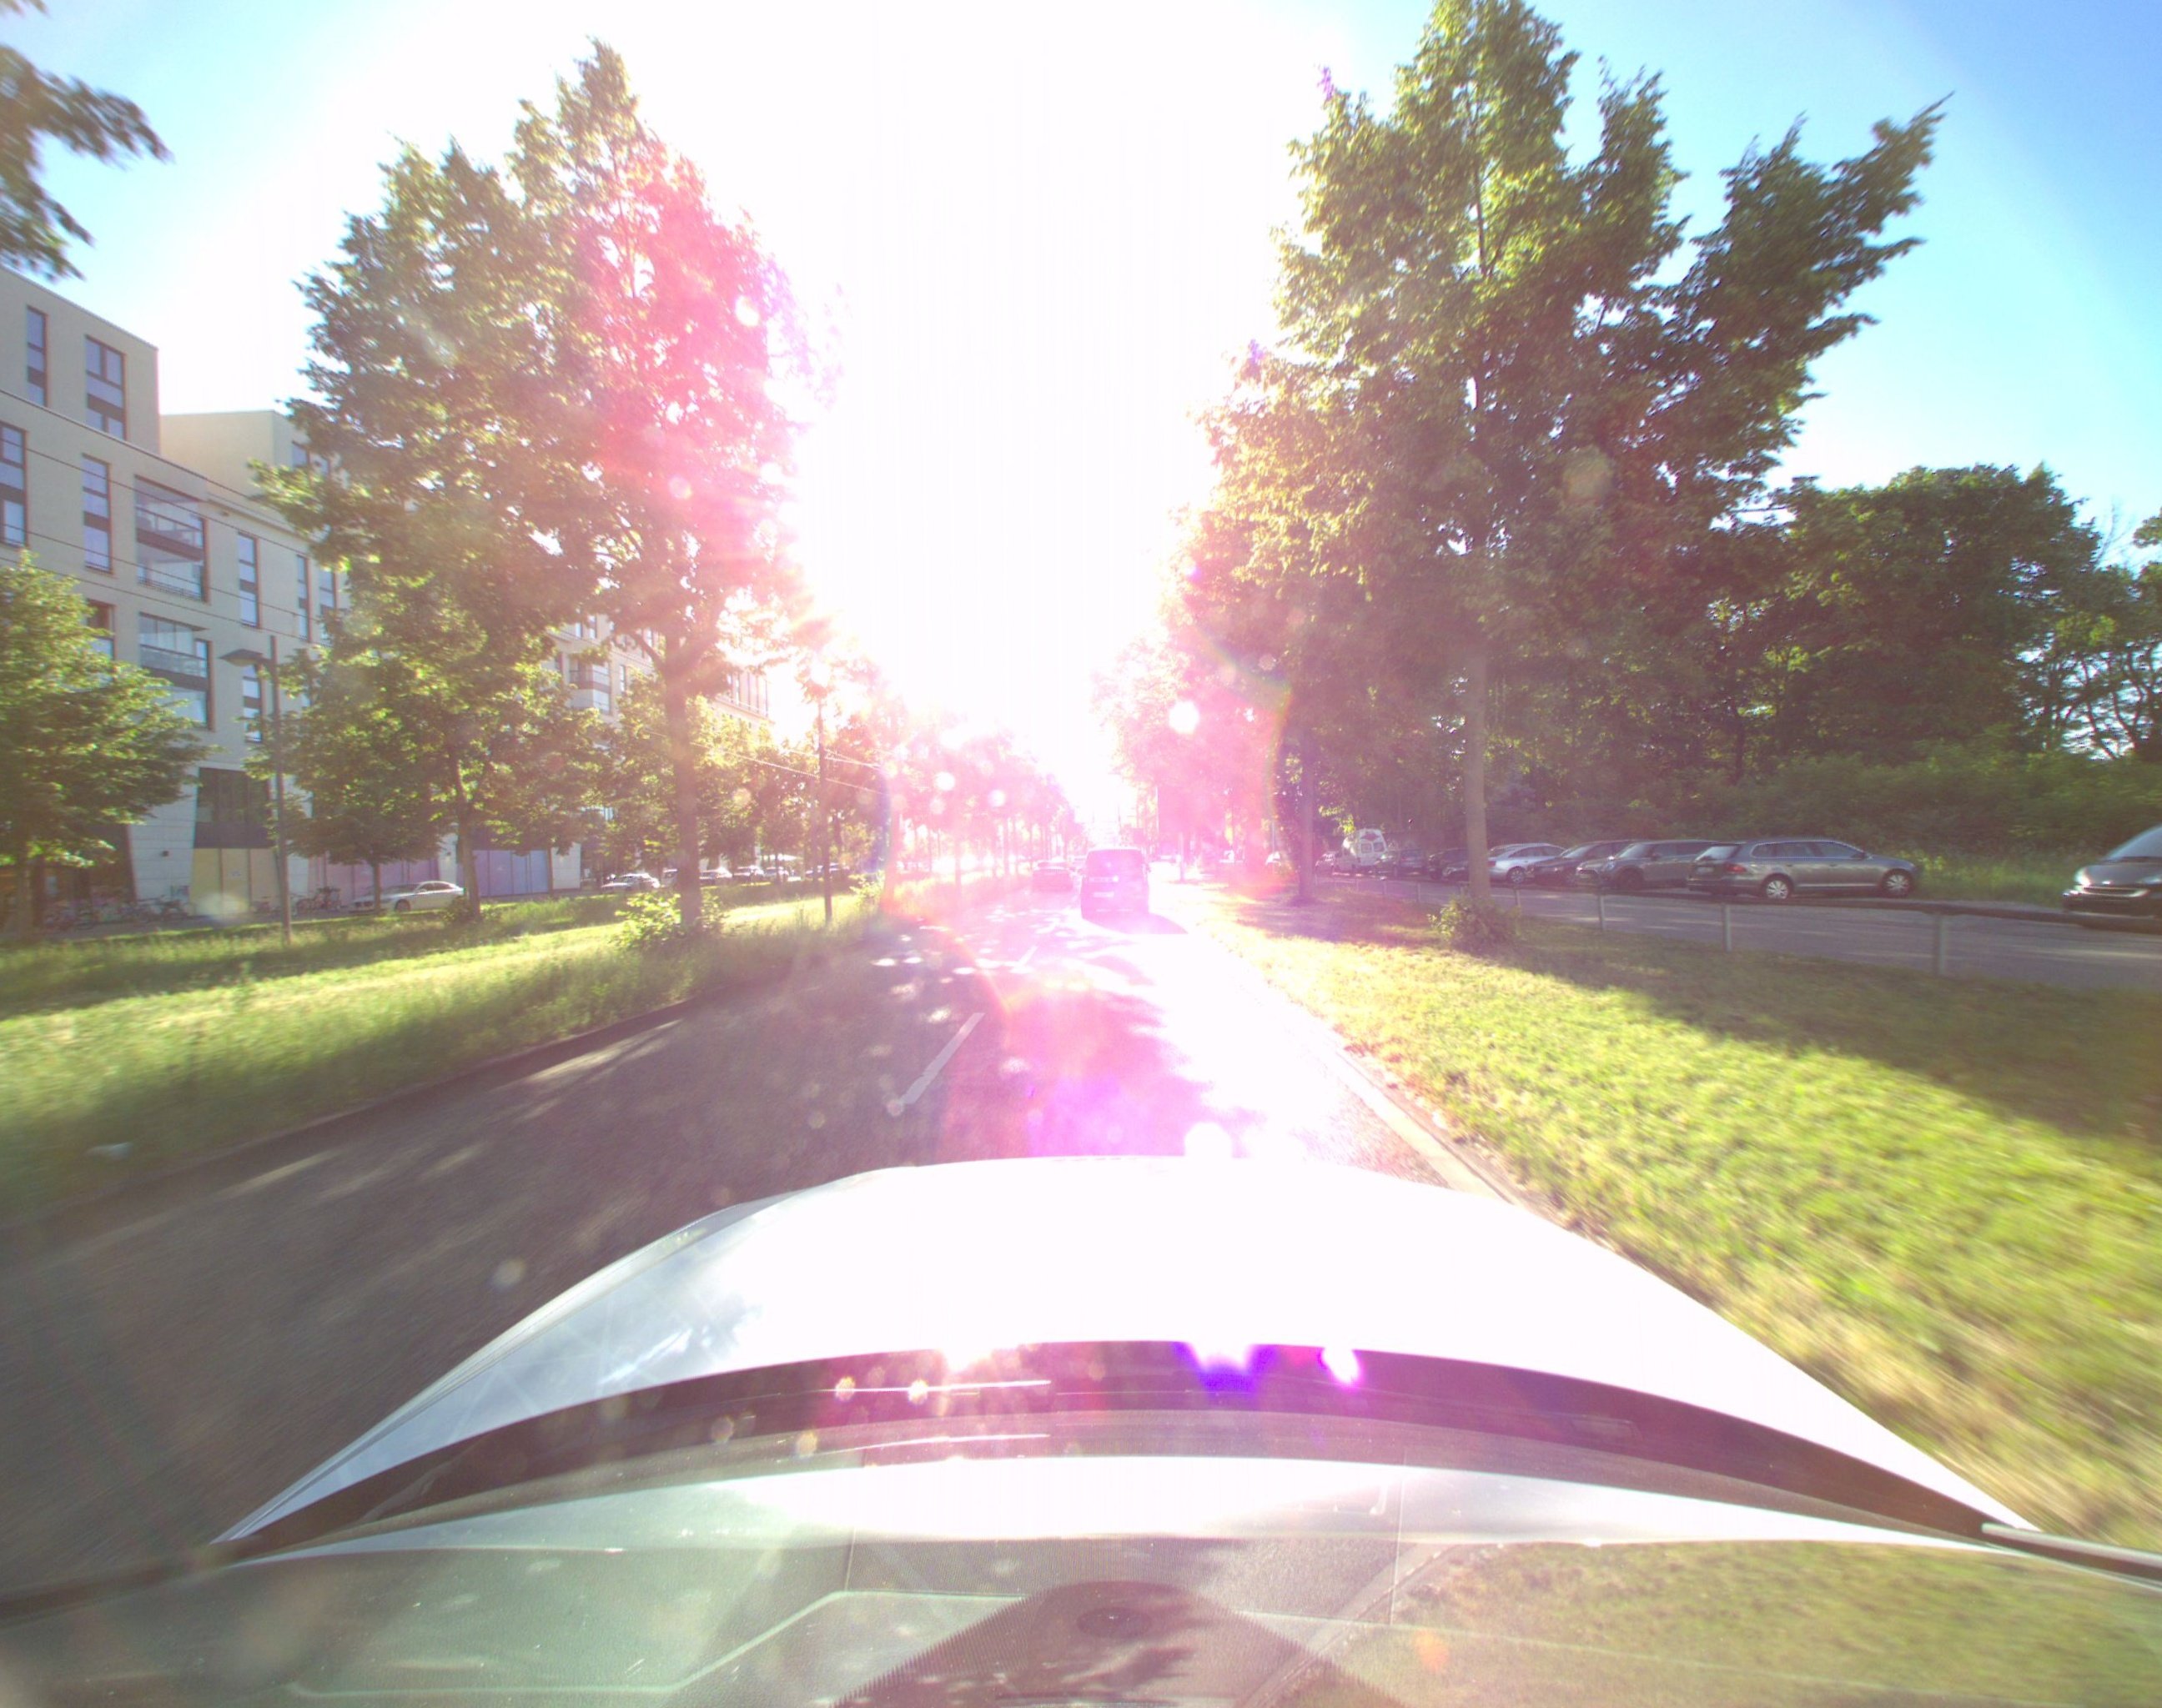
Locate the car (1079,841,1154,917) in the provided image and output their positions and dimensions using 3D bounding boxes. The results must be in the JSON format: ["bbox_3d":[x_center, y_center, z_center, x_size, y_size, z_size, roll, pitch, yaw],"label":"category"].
[{"bbox_3d":[0.853,0.629,21.935,1.803,1.838,3.998,0,-1,-1],"label":"car"}]

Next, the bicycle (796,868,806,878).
[{"bbox_3d":[-34.777,2.376,101.075,0.585,1.252,1.840,0,-1,2],"label":"bicycle"}]

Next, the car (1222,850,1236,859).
[{"bbox_3d":[26.792,0.133,147.889,1.985,1.640,4.003,0,-1,3],"label":"car"}]

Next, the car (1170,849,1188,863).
[{"bbox_3d":[14.018,0.299,116.303,2.180,2.014,5.825,0,-1,3],"label":"car"}]

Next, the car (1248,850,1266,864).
[{"bbox_3d":[20.427,0.361,94.692,1.681,1.472,3.766,-4,-1,8],"label":"car"}]

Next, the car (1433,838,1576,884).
[{"bbox_3d":[17.169,0.289,33.225,4.701,1.406,2.001,-5,0,2],"label":"car"}]

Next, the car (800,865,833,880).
[{"bbox_3d":[-28.032,1.949,86.361,1.950,1.441,4.268,0,-1,2],"label":"car"}]

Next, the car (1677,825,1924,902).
[{"bbox_3d":[16.517,0.214,18.867,4.063,1.468,1.717,-3,-1,2],"label":"car"}]

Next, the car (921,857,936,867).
[{"bbox_3d":[-31.539,1.639,168.966,1.985,2.014,4.567,0,-1,3],"label":"car"}]

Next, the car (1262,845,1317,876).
[{"bbox_3d":[11.525,0.381,45.266,1.988,1.640,3.998,0,-1,-1],"label":"car"}]

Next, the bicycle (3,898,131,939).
[{"bbox_3d":[-36.572,2.294,29.464,0.941,1.281,2.778,0,-1,9],"label":"bicycle"}]

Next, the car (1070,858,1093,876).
[{"bbox_3d":[0.080,1.197,76.641,1.986,1.618,4.002,0,-1,2],"label":"car"}]

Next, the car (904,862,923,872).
[{"bbox_3d":[-27.105,2.136,132.248,1.871,1.621,4.614,0,-1,3],"label":"car"}]

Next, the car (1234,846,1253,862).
[{"bbox_3d":[21.624,0.008,108.438,2.076,2.013,4.952,-1,0,7],"label":"car"}]

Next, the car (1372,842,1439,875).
[{"bbox_3d":[17.400,0.238,43.894,1.986,1.574,4.002,-4,0,2],"label":"car"}]

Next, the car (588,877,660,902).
[{"bbox_3d":[-29.472,2.255,52.712,1.987,1.441,4.778,0,-1,0],"label":"car"}]

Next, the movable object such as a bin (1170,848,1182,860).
[{"bbox_3d":[16.949,0.027,145.139,2.071,2.014,2.140,0,-1,6],"label":"movable object such as a bin"}]

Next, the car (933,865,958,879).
[{"bbox_3d":[-16.449,2.176,98.829,1.986,1.686,5.112,0,-1,2],"label":"car"}]

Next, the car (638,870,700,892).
[{"bbox_3d":[-29.144,1.880,57.733,1.986,1.441,4.458,0,-1,2],"label":"car"}]

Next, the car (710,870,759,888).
[{"bbox_3d":[-29.243,2.080,68.902,1.987,1.441,4.935,0,-1,0],"label":"car"}]

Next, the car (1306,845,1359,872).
[{"bbox_3d":[17.079,0.291,55.496,1.839,1.617,3.988,-5,0,-9],"label":"car"}]

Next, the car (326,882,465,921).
[{"bbox_3d":[-30.120,2.042,36.039,1.987,1.441,4.924,0,-1,0],"label":"car"}]

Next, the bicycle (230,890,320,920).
[{"bbox_3d":[-37.031,2.323,37.481,2.777,1.281,0.941,0,-1,-27],"label":"bicycle"}]

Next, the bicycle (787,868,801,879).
[{"bbox_3d":[-34.877,2.375,99.025,0.582,1.252,1.850,-1,-1,24],"label":"bicycle"}]

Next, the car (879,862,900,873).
[{"bbox_3d":[-27.664,1.955,117.898,1.872,1.434,4.612,-2,0,1],"label":"car"}]

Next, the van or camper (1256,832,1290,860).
[{"bbox_3d":[20.011,-0.803,85.153,2.543,2.684,6.577,-4,0,7],"label":"van or camper"}]

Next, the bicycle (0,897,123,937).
[{"bbox_3d":[-37.603,2.305,30.061,0.941,1.281,2.778,0,-1,9],"label":"bicycle"}]

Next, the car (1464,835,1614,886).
[{"bbox_3d":[16.940,0.227,30.316,4.361,1.411,2.002,-6,-1,4],"label":"car"}]

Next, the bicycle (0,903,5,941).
[{"bbox_3d":[-37.359,2.305,26.441,0.941,1.281,2.778,0,-1,9],"label":"bicycle"}]

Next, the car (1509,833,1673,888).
[{"bbox_3d":[17.109,0.190,27.458,4.317,1.478,1.905,-4,1,-2],"label":"car"}]

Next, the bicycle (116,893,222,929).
[{"bbox_3d":[-36.912,2.287,33.034,0.941,1.281,2.778,0,-1,9],"label":"bicycle"}]

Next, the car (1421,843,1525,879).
[{"bbox_3d":[18.104,0.298,37.688,3.979,1.505,1.763,-2,0,-4],"label":"car"}]

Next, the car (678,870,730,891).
[{"bbox_3d":[-29.126,2.023,63.091,1.987,1.441,4.455,0,-1,0],"label":"car"}]

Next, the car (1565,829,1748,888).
[{"bbox_3d":[17.022,0.131,24.223,4.179,1.498,1.781,-3,0,-1],"label":"car"}]

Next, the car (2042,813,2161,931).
[{"bbox_3d":[15.645,0.176,11.211,2.748,1.550,1.466,-3,-1,11],"label":"car"}]

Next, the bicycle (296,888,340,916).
[{"bbox_3d":[-36.967,2.328,39.476,0.596,1.281,1.608,0,-1,0],"label":"bicycle"}]

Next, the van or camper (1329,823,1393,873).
[{"bbox_3d":[17.077,-0.340,49.928,1.988,2.731,4.962,-5,-1,-1],"label":"van or camper"}]

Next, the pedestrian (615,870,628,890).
[{"bbox_3d":[-38.206,2.124,67.734,0.633,1.651,0.720,0,-1,0],"label":"pedestrian"}]

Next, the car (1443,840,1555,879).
[{"bbox_3d":[18.111,0.239,35.410,3.973,1.392,1.620,-4,-1,0],"label":"car"}]

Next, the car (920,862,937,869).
[{"bbox_3d":[-26.449,1.989,141.196,1.904,1.325,4.614,0,-1,3],"label":"car"}]

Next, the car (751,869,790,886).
[{"bbox_3d":[-28.796,2.143,75.654,1.987,1.441,4.455,0,-1,0],"label":"car"}]

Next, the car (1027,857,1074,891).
[{"bbox_3d":[-1.335,0.878,36.981,1.785,1.428,4.002,0,-1,2],"label":"car"}]

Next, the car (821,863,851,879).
[{"bbox_3d":[-27.934,1.902,93.084,1.987,1.772,4.775,0,-1,0],"label":"car"}]
